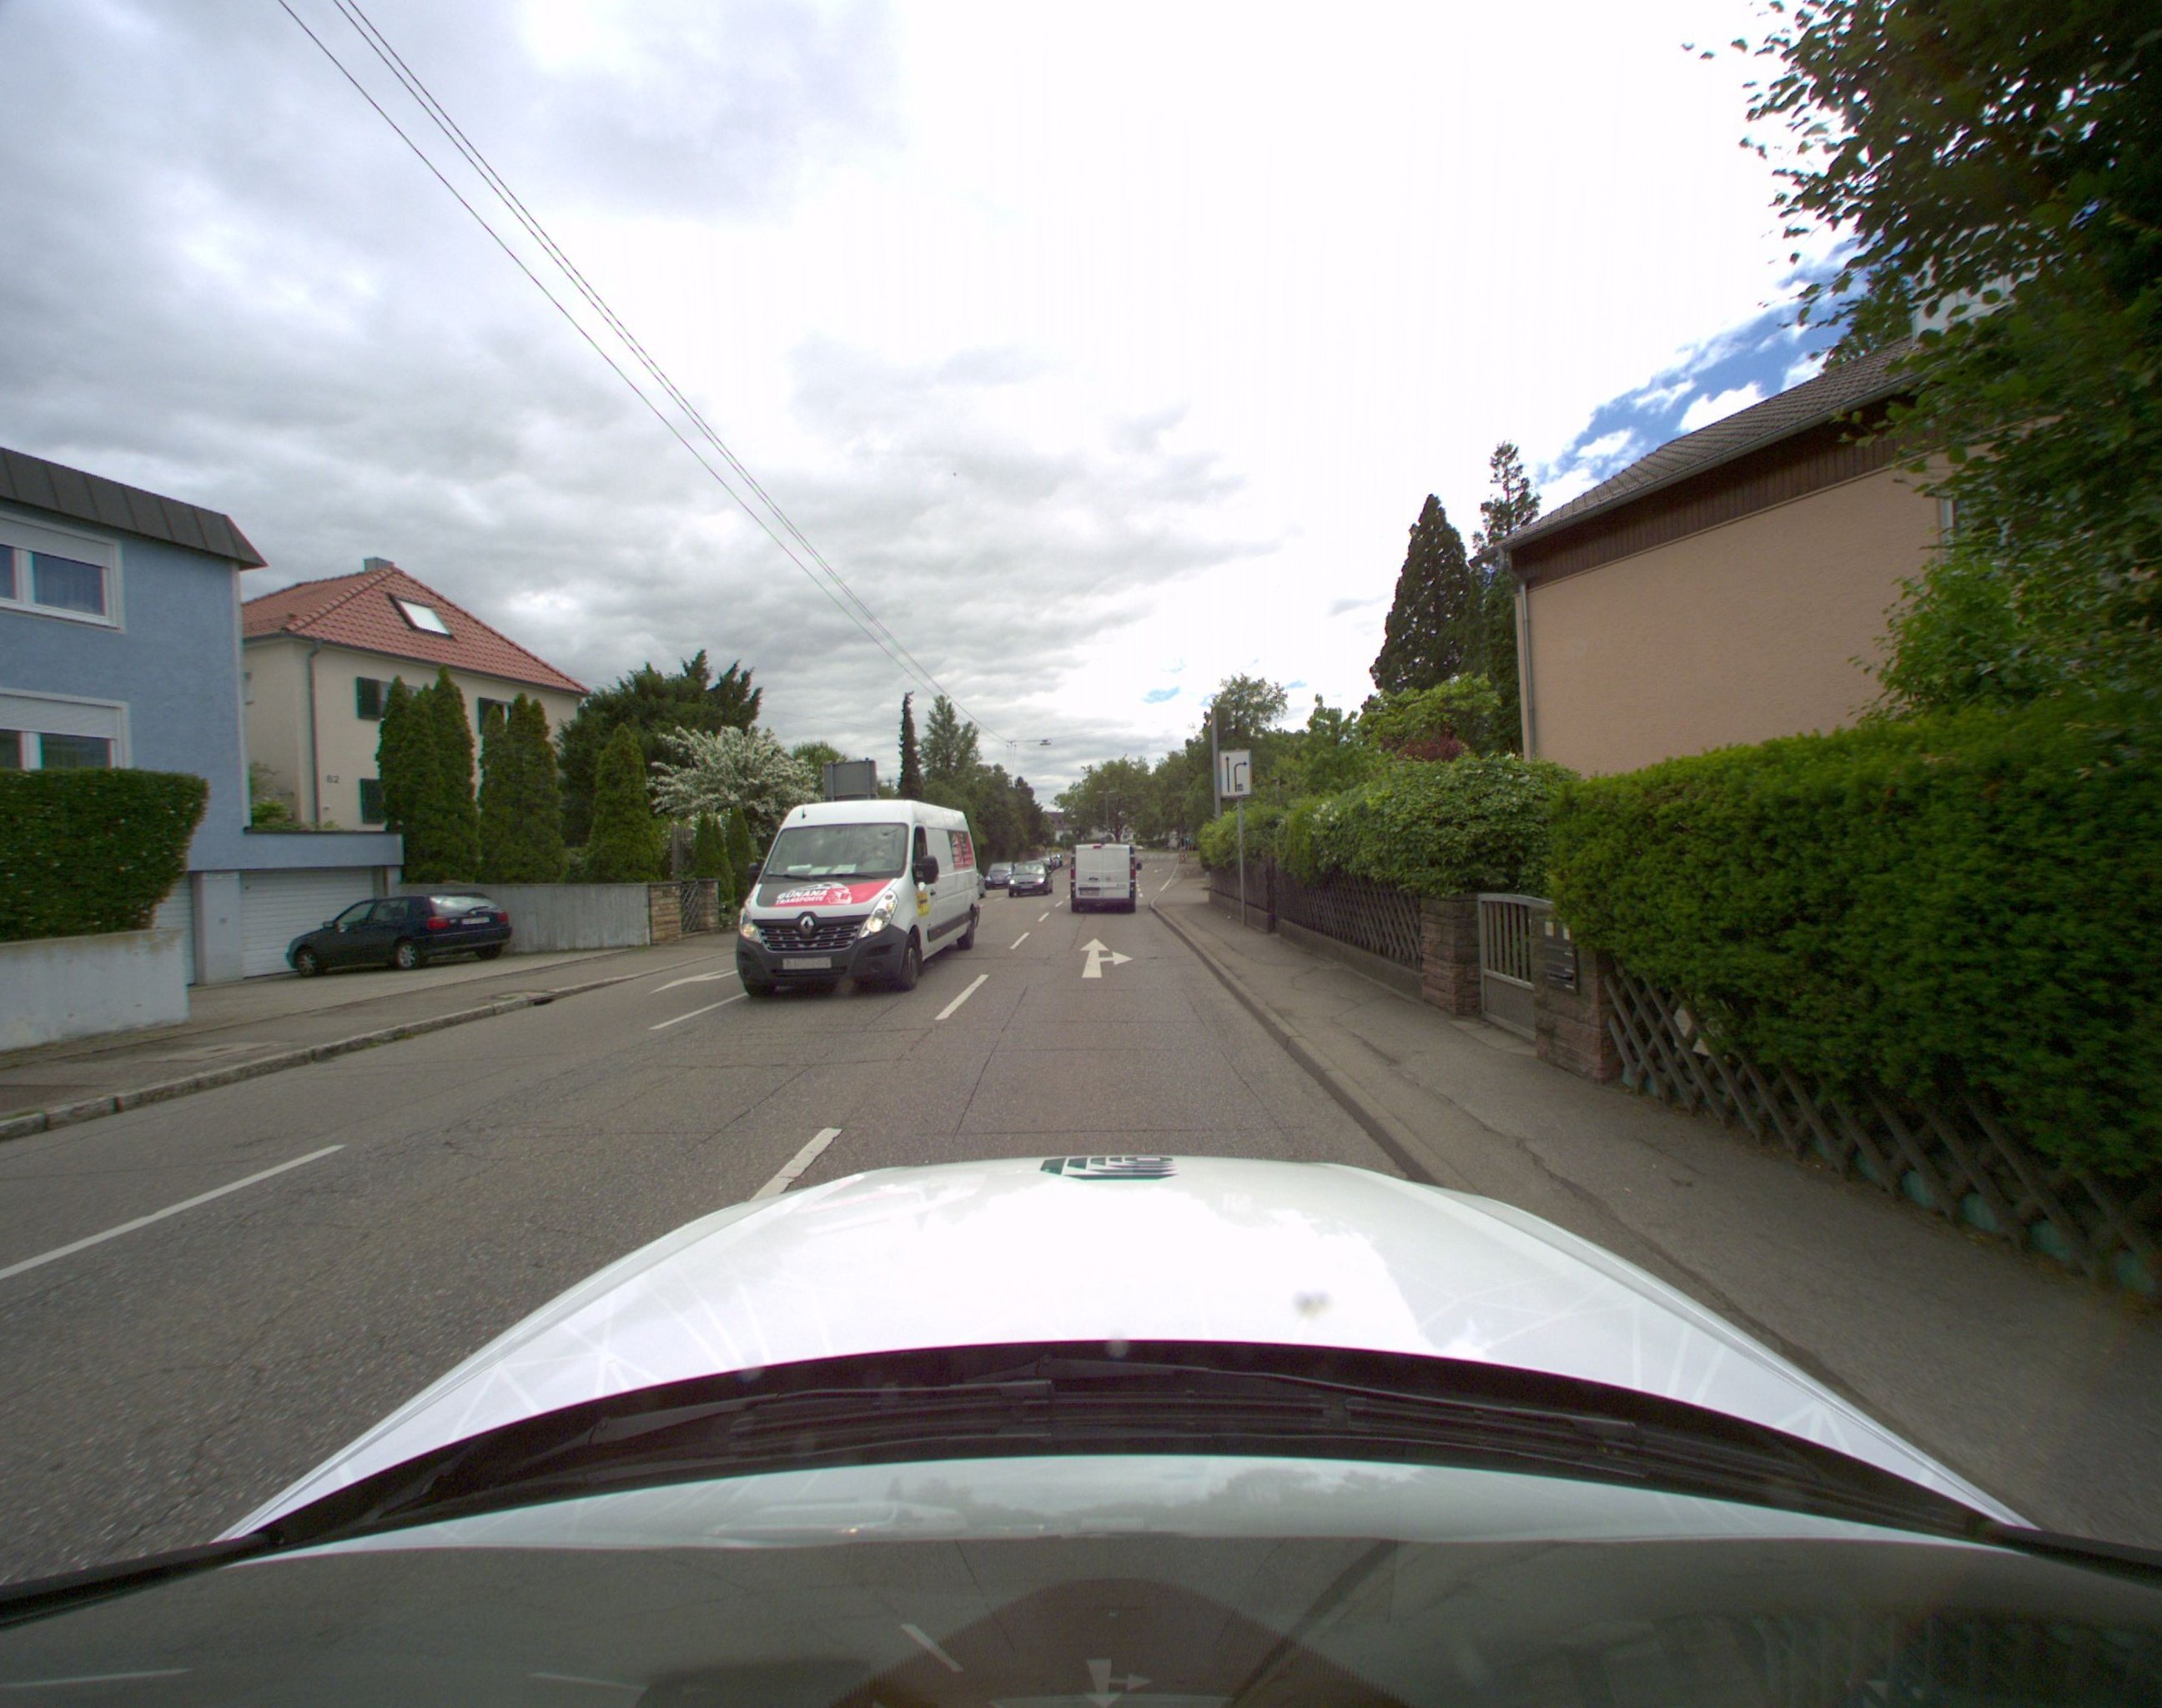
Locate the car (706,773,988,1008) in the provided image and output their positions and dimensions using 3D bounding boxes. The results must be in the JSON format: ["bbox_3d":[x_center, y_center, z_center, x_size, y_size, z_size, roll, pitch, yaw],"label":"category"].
[{"bbox_3d":[-2.930,0.395,12.022,2.103,2.498,6.127,-2,0,2],"label":"car"}]

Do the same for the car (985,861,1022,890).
[{"bbox_3d":[-4.724,1.282,49.958,1.672,1.556,3.972,-4,-1,1],"label":"car"}]

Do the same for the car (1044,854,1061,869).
[{"bbox_3d":[-3.477,0.889,99.895,1.666,1.592,4.098,-4,0,2],"label":"car"}]

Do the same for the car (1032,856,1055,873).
[{"bbox_3d":[-3.790,1.049,83.466,1.987,1.643,4.466,-3,0,0],"label":"car"}]

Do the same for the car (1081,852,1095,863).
[{"bbox_3d":[1.072,0.542,124.014,1.834,1.647,4.218,-2,0,4],"label":"car"}]

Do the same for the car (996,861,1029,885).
[{"bbox_3d":[-4.845,1.348,57.931,1.883,1.494,4.027,-4,0,0],"label":"car"}]

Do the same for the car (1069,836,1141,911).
[{"bbox_3d":[0.694,0.535,24.937,1.999,2.038,5.010,0,0,1],"label":"car"}]

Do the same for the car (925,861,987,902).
[{"bbox_3d":[-5.202,1.095,34.417,1.803,1.455,4.413,-5,0,0],"label":"car"}]

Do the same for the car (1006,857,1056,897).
[{"bbox_3d":[-2.163,0.975,36.147,1.727,1.553,4.449,-2,0,2],"label":"car"}]

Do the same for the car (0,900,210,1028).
[{"bbox_3d":[-14.508,1.429,10.998,3.958,1.391,2.008,-2,0,14],"label":"car"}]

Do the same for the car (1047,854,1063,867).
[{"bbox_3d":[-3.285,0.798,105.239,1.882,1.625,4.430,-2,0,0],"label":"car"}]

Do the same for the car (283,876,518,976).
[{"bbox_3d":[-13.112,1.373,15.747,3.561,1.592,1.649,-4,-1,15],"label":"car"}]
